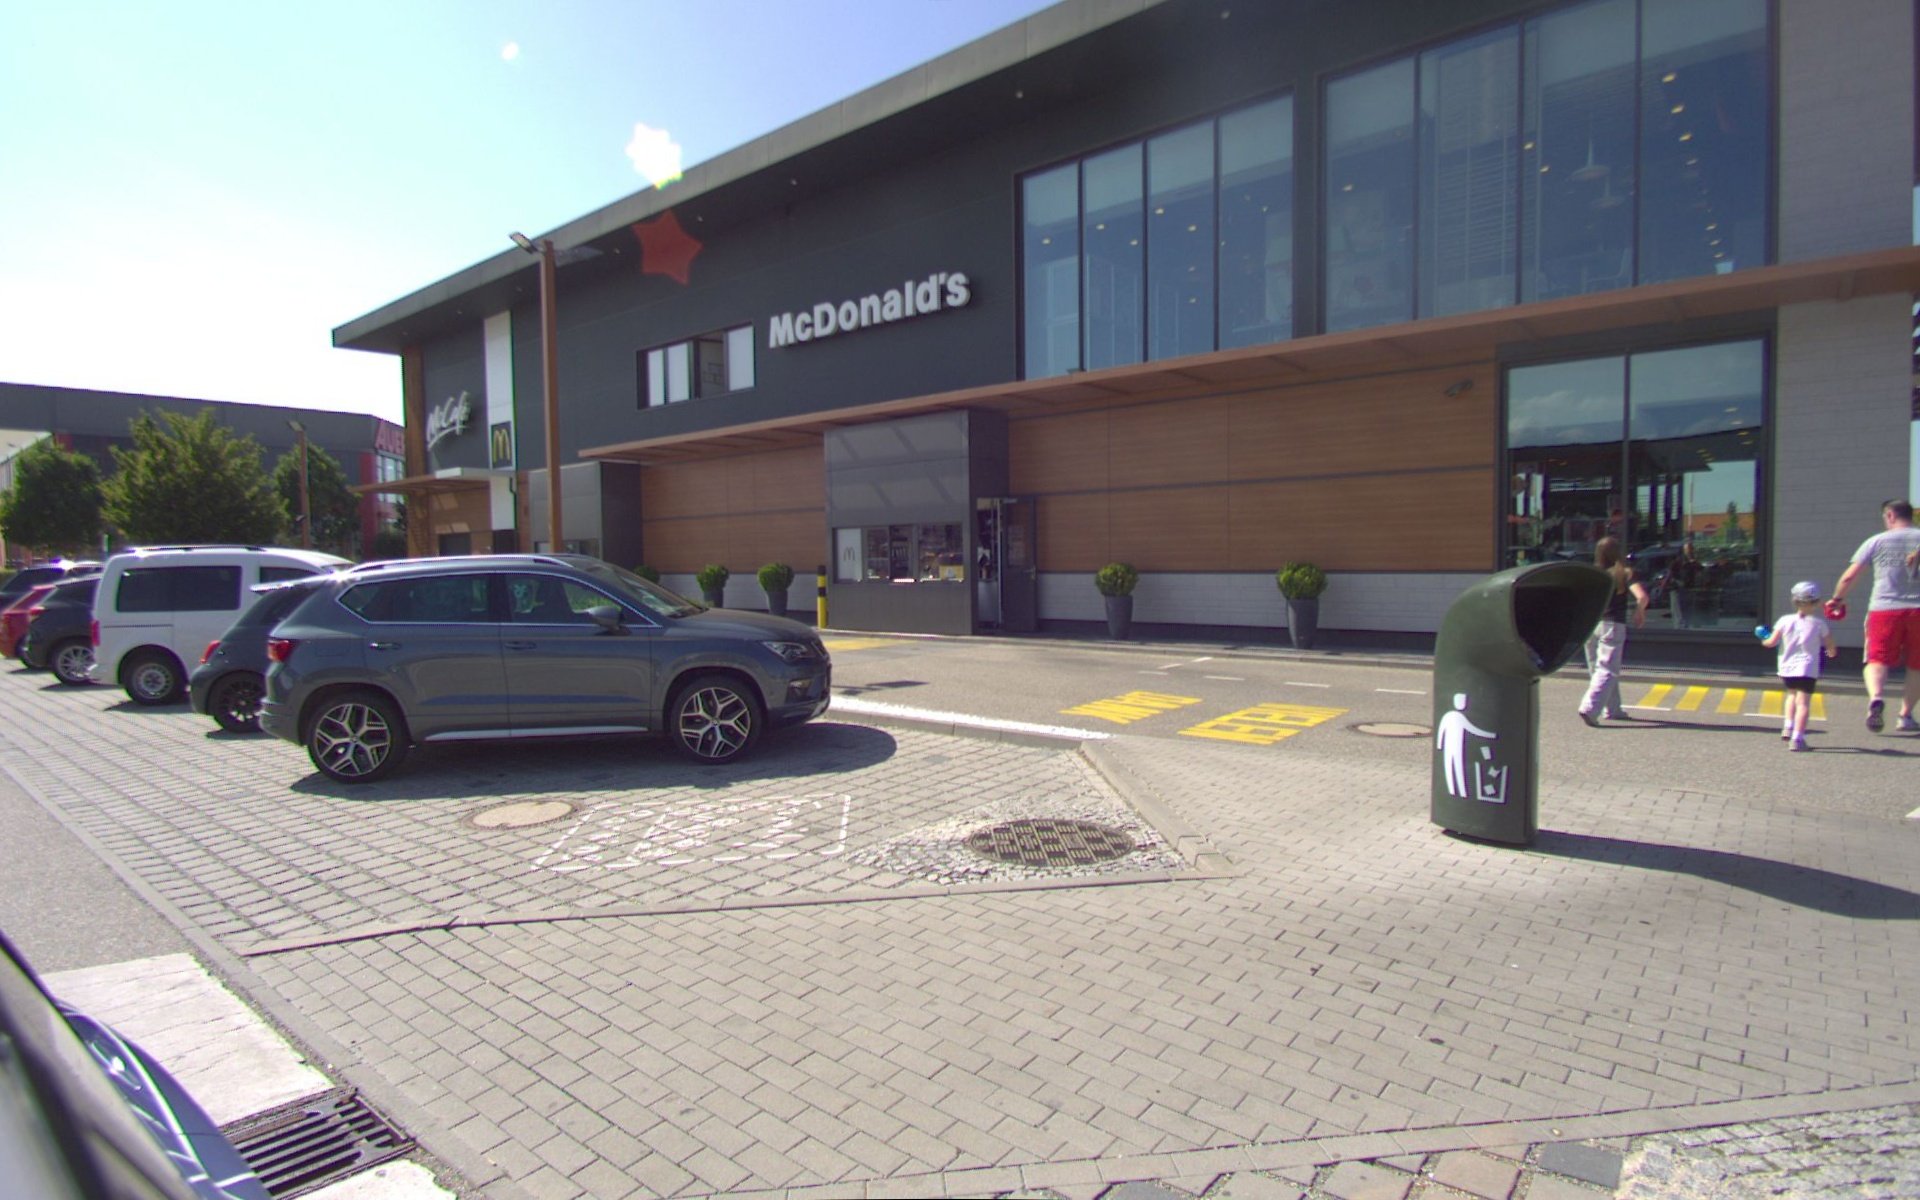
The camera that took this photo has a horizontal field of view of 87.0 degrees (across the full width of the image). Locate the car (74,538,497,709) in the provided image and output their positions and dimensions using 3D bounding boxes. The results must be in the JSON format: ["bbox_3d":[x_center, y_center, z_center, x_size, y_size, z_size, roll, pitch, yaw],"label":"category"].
[{"bbox_3d":[-8.303,0.227,12.845,4.078,1.936,1.762,-1,2,-10],"label":"car"}]

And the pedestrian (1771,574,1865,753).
[{"bbox_3d":[6.013,0.420,7.107,0.447,1.195,0.486,0,2,34],"label":"pedestrian"}]

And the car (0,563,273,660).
[{"bbox_3d":[-15.986,0.169,19.665,3.973,1.718,1.679,-1,2,-12],"label":"car"}]

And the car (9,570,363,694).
[{"bbox_3d":[-11.293,0.392,15.088,3.779,1.644,1.763,-1,2,-16],"label":"car"}]

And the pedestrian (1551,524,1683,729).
[{"bbox_3d":[5.441,0.195,8.388,0.717,1.595,0.742,-2,2,-40],"label":"pedestrian"}]

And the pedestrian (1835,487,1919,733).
[{"bbox_3d":[7.270,0.063,7.623,0.894,1.781,0.795,0,1,32],"label":"pedestrian"}]

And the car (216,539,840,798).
[{"bbox_3d":[-3.110,0.423,8.087,4.163,1.614,1.793,-3,4,-4],"label":"car"}]

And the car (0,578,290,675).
[{"bbox_3d":[-14.013,0.394,17.524,3.707,1.454,1.681,-2,2,-21],"label":"car"}]

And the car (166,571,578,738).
[{"bbox_3d":[-5.886,0.479,10.530,3.358,1.493,1.572,-1,2,-13],"label":"car"}]
